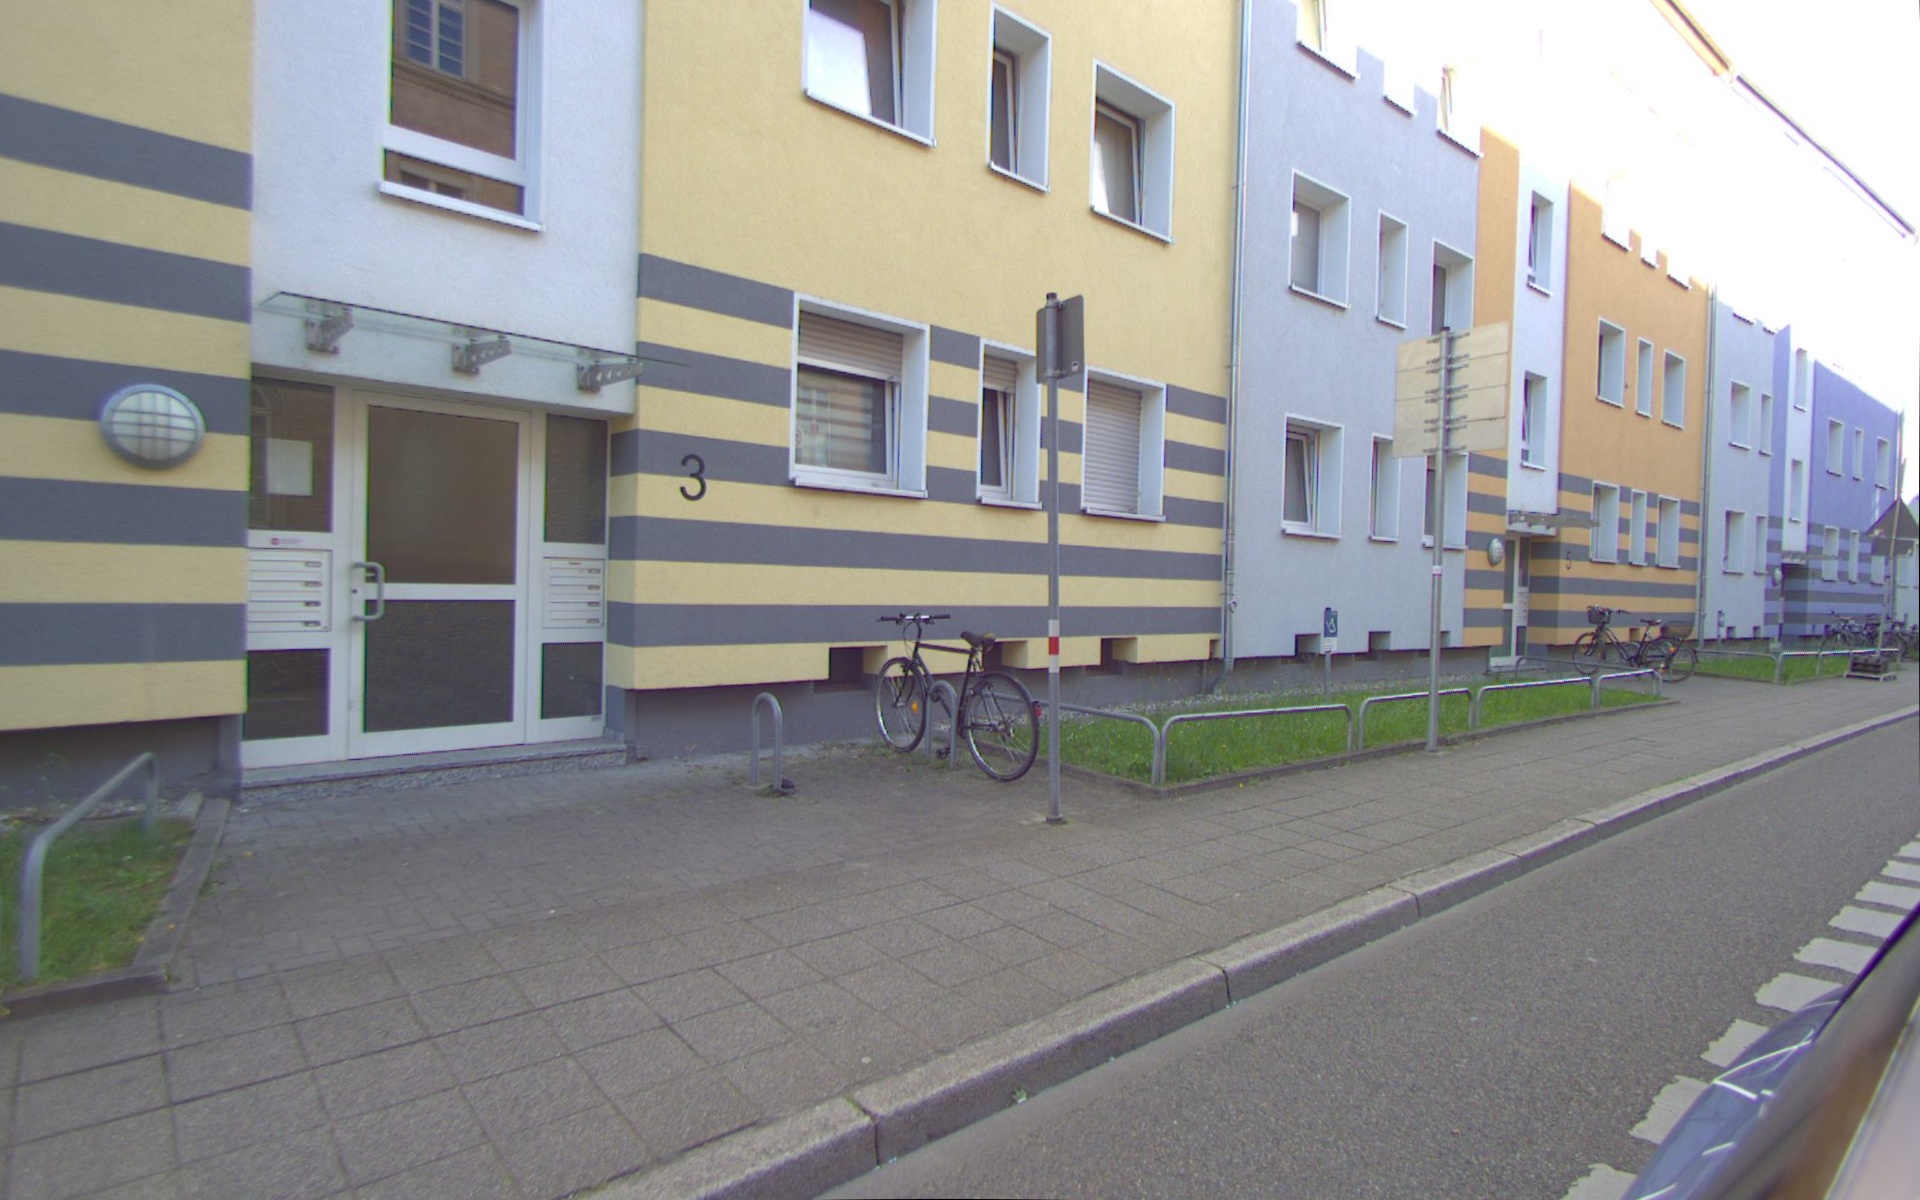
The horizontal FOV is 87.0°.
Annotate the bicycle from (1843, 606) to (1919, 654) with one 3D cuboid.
[{"bbox_3d":[23.262,0.749,25.273,0.625,1.095,1.711,1,2,-40],"label":"bicycle"}]

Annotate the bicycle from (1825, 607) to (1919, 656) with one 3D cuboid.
[{"bbox_3d":[22.294,0.750,24.678,0.624,1.058,1.711,1,2,-39],"label":"bicycle"}]

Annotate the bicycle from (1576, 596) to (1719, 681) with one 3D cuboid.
[{"bbox_3d":[10.753,0.578,15.875,0.625,1.173,1.709,1,3,-42],"label":"bicycle"}]

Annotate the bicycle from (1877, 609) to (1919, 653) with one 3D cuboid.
[{"bbox_3d":[24.182,0.798,25.347,0.625,1.048,1.709,1,3,-42],"label":"bicycle"}]

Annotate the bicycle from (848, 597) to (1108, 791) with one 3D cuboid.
[{"bbox_3d":[0.057,0.567,7.057,0.625,1.074,1.946,1,3,-42],"label":"bicycle"}]
